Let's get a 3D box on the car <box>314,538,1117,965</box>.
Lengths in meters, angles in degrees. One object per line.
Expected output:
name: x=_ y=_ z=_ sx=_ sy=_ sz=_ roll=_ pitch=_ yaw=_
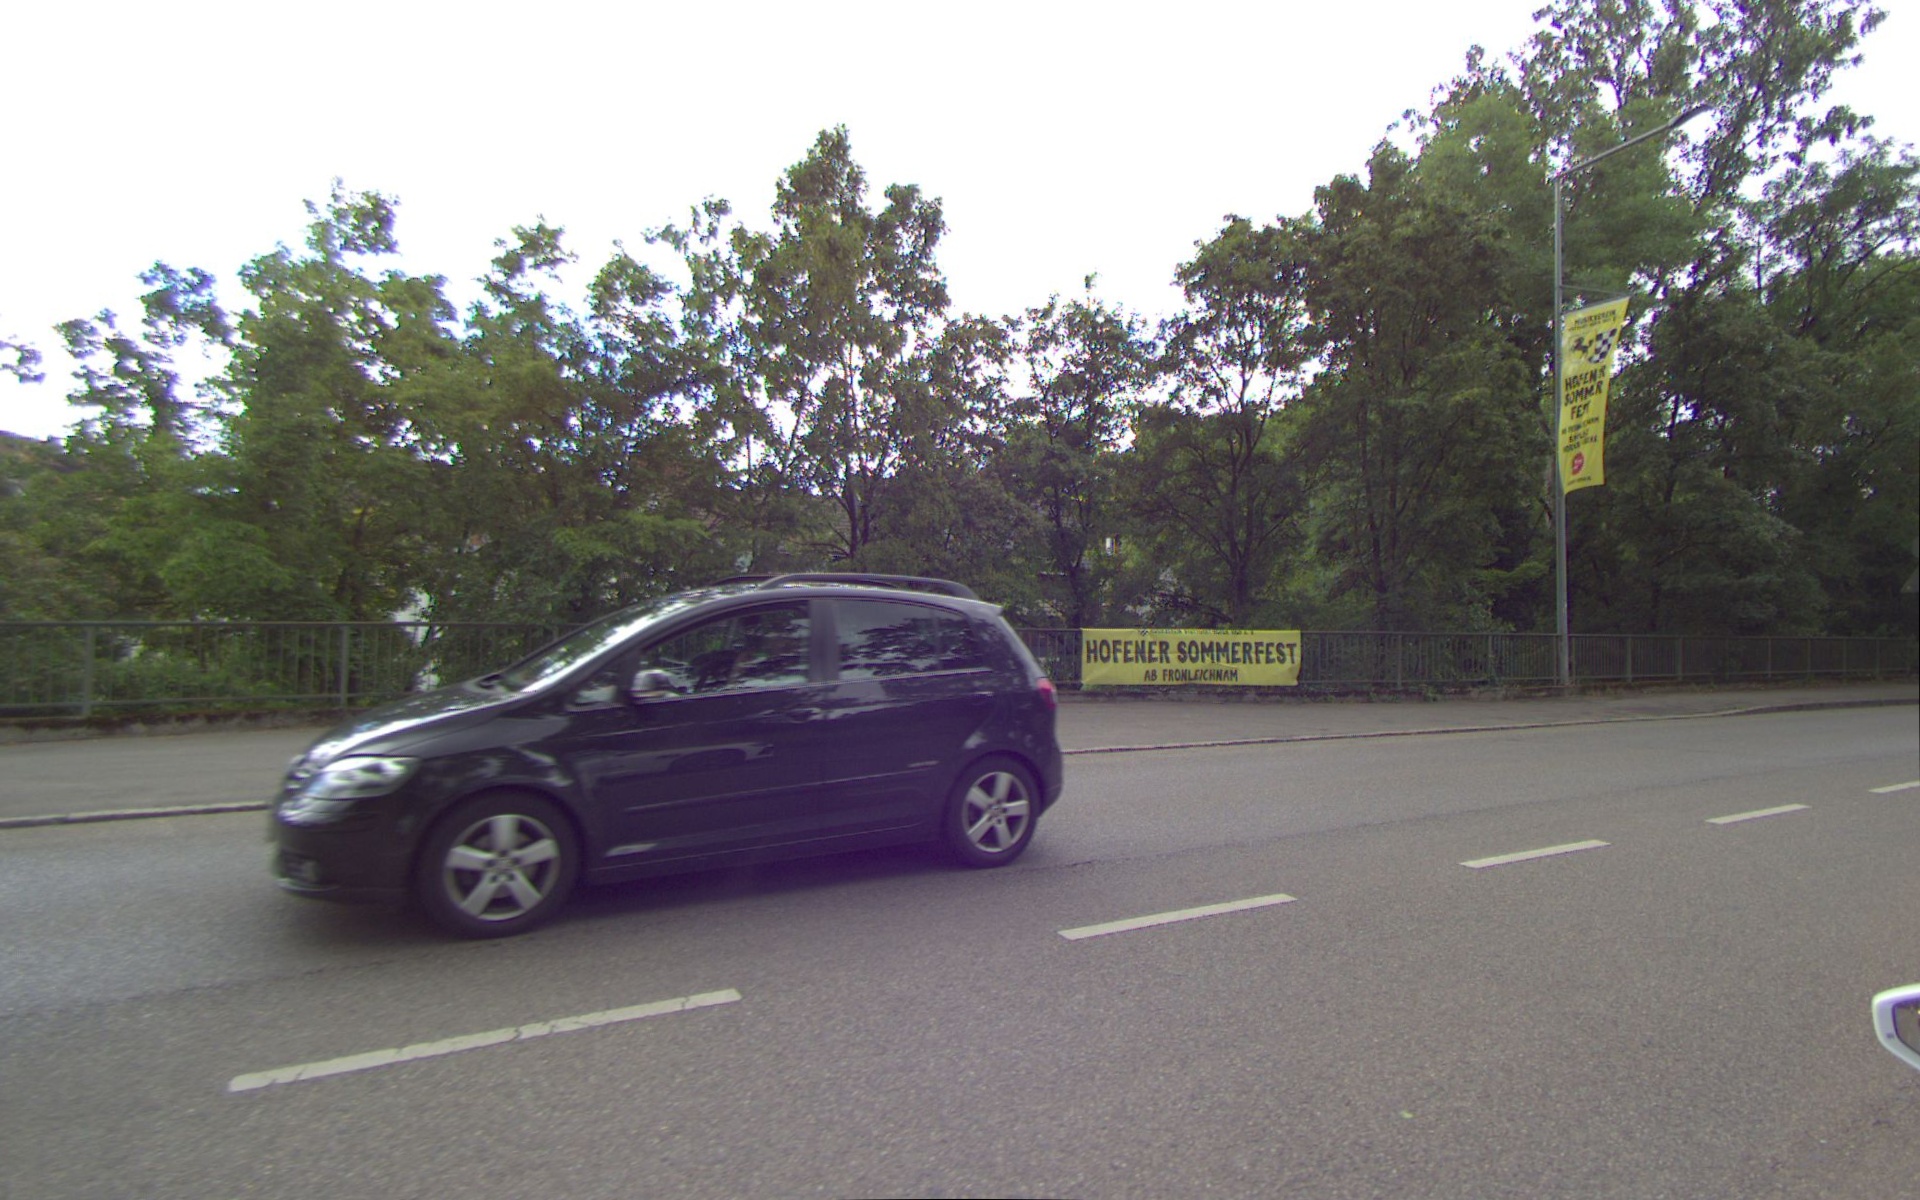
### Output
car: x=-1.207 y=0.625 z=5.623 sx=3.969 sy=1.628 sz=1.711 roll=2 pitch=-1 yaw=-32
